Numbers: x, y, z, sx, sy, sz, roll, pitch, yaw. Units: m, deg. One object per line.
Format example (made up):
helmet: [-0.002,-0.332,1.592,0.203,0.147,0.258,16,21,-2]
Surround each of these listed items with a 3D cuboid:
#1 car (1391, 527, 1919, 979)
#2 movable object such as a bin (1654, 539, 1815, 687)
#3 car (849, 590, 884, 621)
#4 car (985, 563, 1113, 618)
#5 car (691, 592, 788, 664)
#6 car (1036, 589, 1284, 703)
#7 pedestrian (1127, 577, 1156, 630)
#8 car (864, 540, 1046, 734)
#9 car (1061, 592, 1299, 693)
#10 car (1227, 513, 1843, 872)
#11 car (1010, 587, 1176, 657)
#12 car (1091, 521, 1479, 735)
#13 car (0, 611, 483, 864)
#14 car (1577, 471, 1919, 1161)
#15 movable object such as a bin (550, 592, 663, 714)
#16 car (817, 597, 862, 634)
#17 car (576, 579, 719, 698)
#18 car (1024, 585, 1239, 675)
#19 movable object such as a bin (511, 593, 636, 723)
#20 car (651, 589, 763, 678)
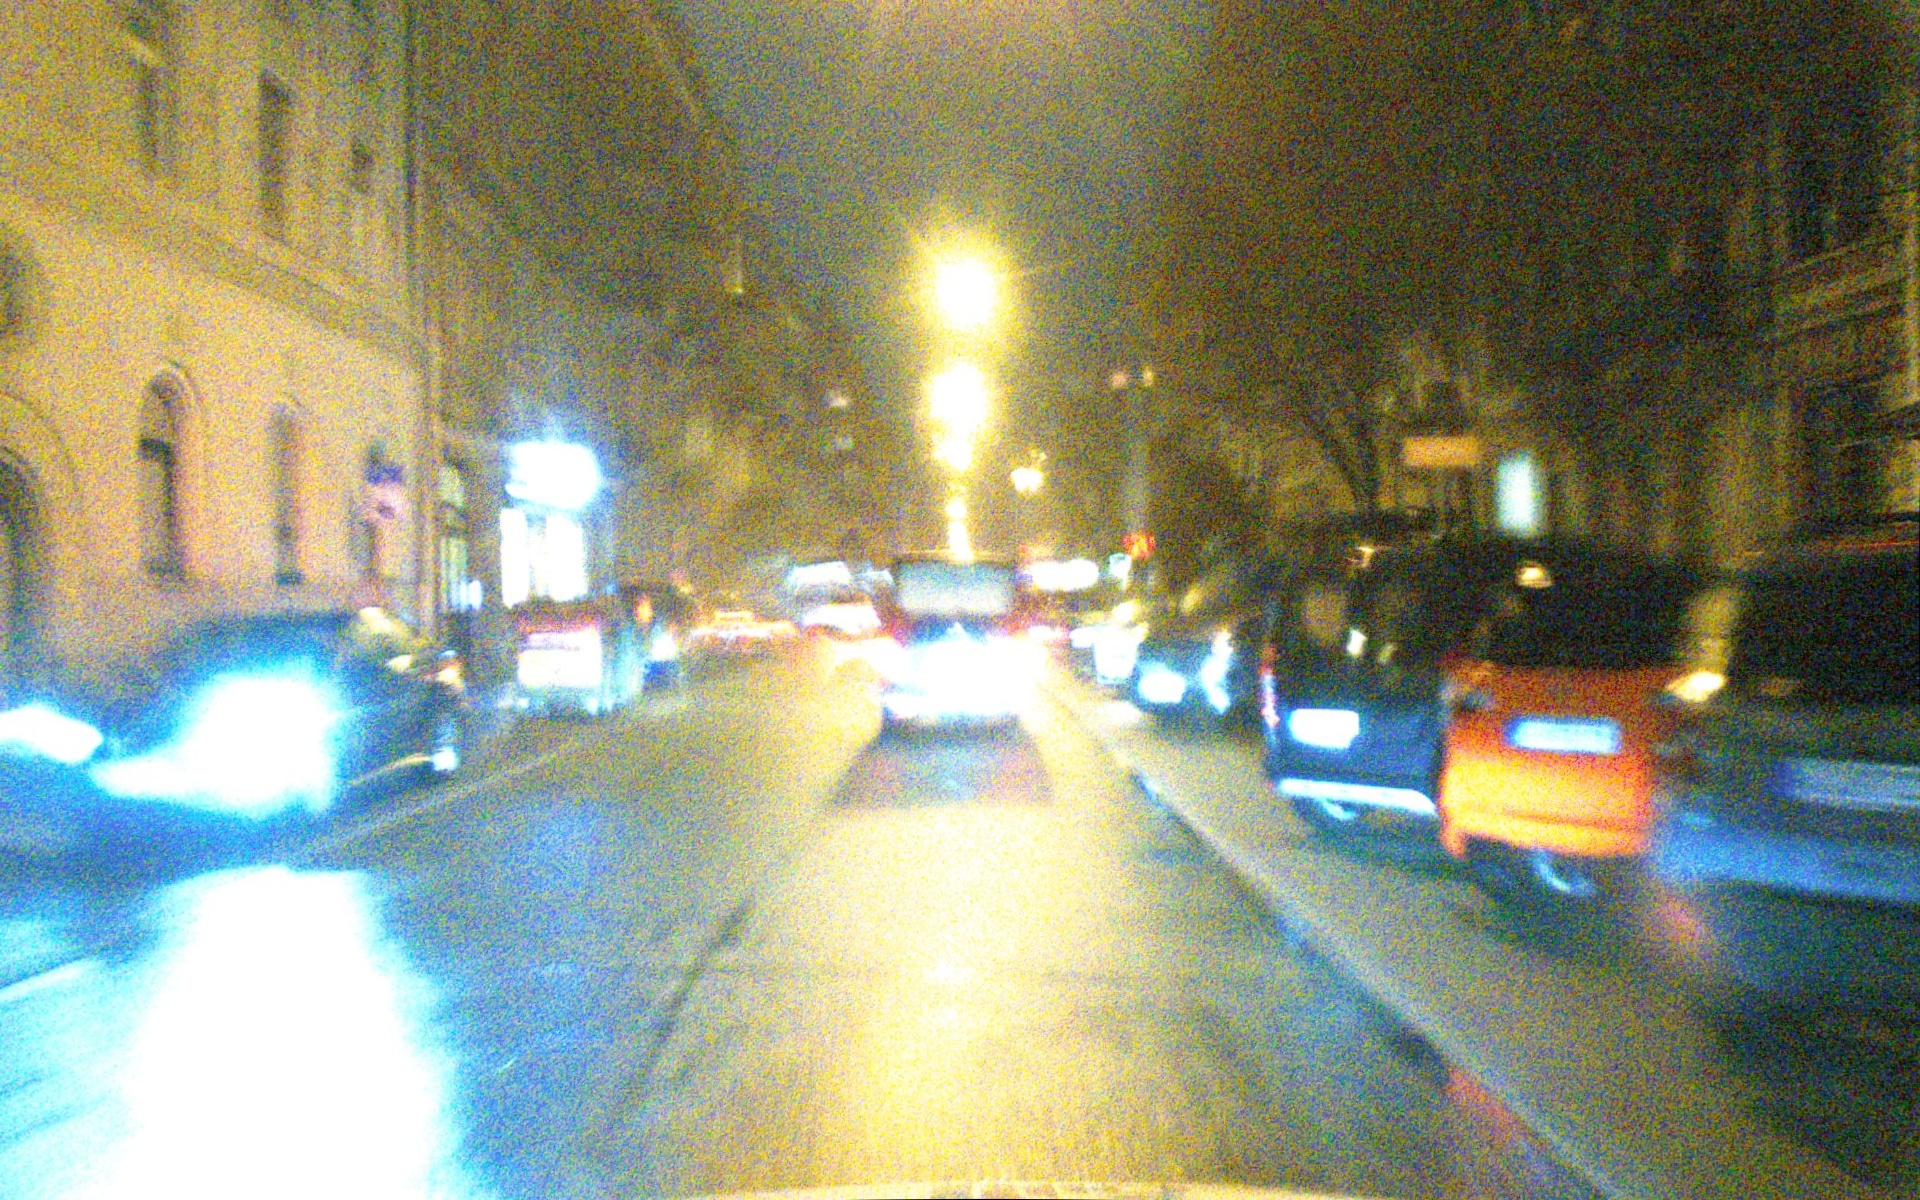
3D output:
car: [4.051,0.595,8.205,3.729,1.758,1.697,0,0,-34]
movable object such as a bin: [8.494,0.136,18.195,1.185,1.476,0.998,-5,0,-1]
car: [-4.871,0.272,85.849,1.777,1.584,4.073,0,0,-4]
car: [3.497,-0.391,65.063,4.737,2.084,2.045,-1,0,-32]
car: [-4.896,0.589,37.247,1.652,1.481,4.315,1,0,-1]
car: [3.118,0.679,25.596,3.604,1.569,1.544,-2,0,-31]
pedestrian: [6.570,0.129,59.949,0.851,1.888,0.992,-3,0,-3]
car: [-0.070,0.415,19.787,1.953,2.086,3.999,0,-1,0]
car: [3.922,0.708,29.225,3.960,1.579,1.972,-2,0,-39]
car: [3.881,0.460,10.861,4.201,1.891,1.695,-3,0,-37]
car: [3.138,0.501,38.857,3.636,1.486,1.587,-2,0,-32]
car: [3.969,0.265,19.821,4.675,2.287,1.921,-2,0,-37]
car: [-4.704,0.791,11.447,1.620,1.383,4.221,0,0,-1]
car: [3.909,0.549,5.414,3.757,1.758,1.721,0,0,-34]
movable object such as a bin: [-4.479,0.656,21.032,1.141,1.485,1.107,1,0,1]
car: [-5.083,0.646,70.116,1.554,1.508,3.793,0,0,1]
car: [-4.809,0.556,25.890,1.571,1.736,3.720,0,0,-1]
car: [3.337,0.551,31.918,3.955,1.579,1.782,-2,0,-36]
movable object such as a bin: [-4.601,0.677,19.798,1.183,1.485,1.107,1,0,1]
car: [-4.777,0.585,31.659,1.571,1.579,4.025,1,0,-1]
